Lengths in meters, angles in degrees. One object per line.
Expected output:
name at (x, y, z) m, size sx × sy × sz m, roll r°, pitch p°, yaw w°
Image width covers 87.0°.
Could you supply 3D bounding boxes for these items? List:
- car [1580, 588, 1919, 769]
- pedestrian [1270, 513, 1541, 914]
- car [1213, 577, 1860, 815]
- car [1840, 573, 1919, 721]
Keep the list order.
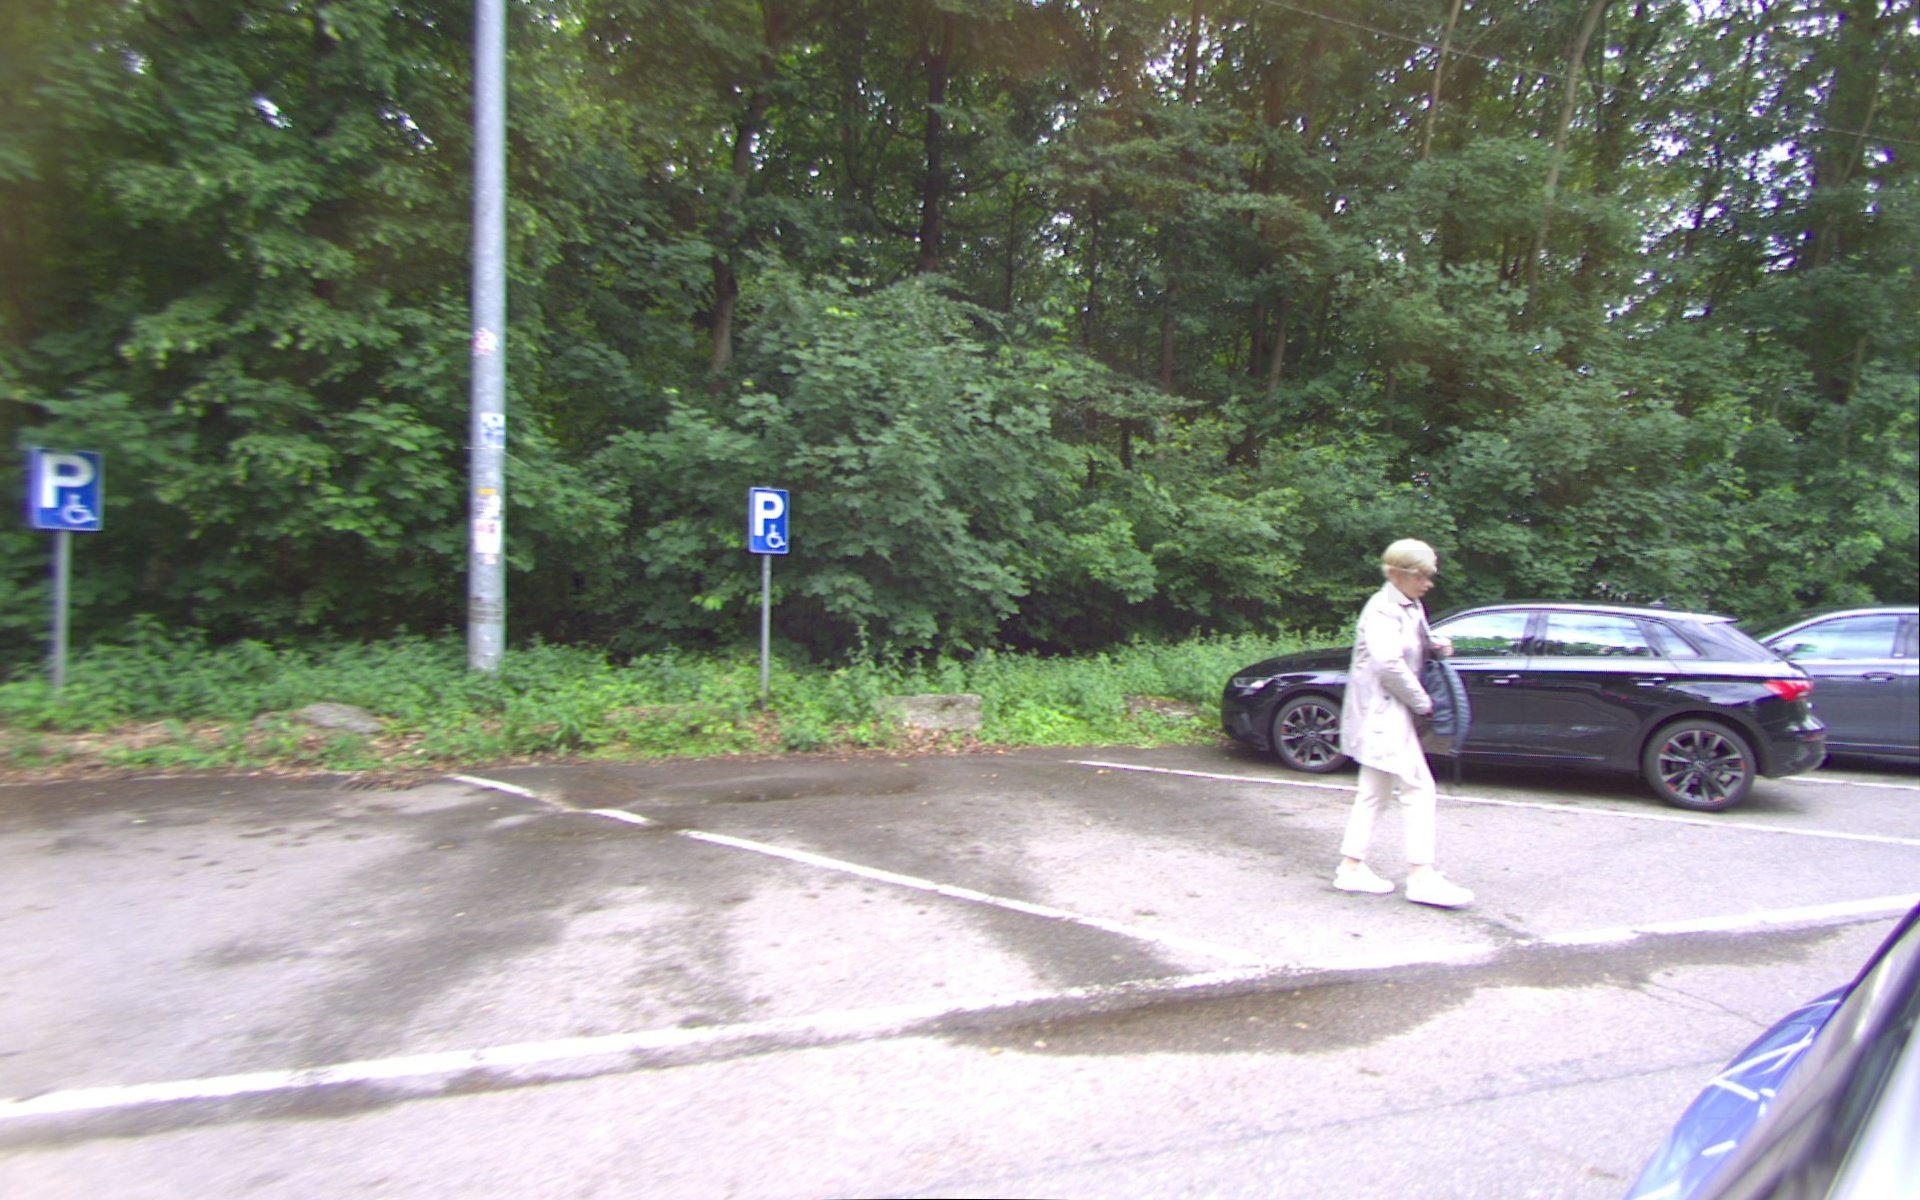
car at (8.125, 0.654, 9.310) m, size 3.963 × 1.440 × 1.892 m, roll 2°, pitch 1°, yaw 28°
pedestrian at (2.115, 0.490, 4.885) m, size 0.878 × 1.746 × 0.766 m, roll 1°, pitch 1°, yaw -16°
car at (4.414, 0.585, 8.376) m, size 4.167 × 1.480 × 1.880 m, roll 2°, pitch 1°, yaw 29°
car at (11.593, 0.529, 10.079) m, size 3.971 × 1.485 × 1.814 m, roll 2°, pitch 2°, yaw 33°
